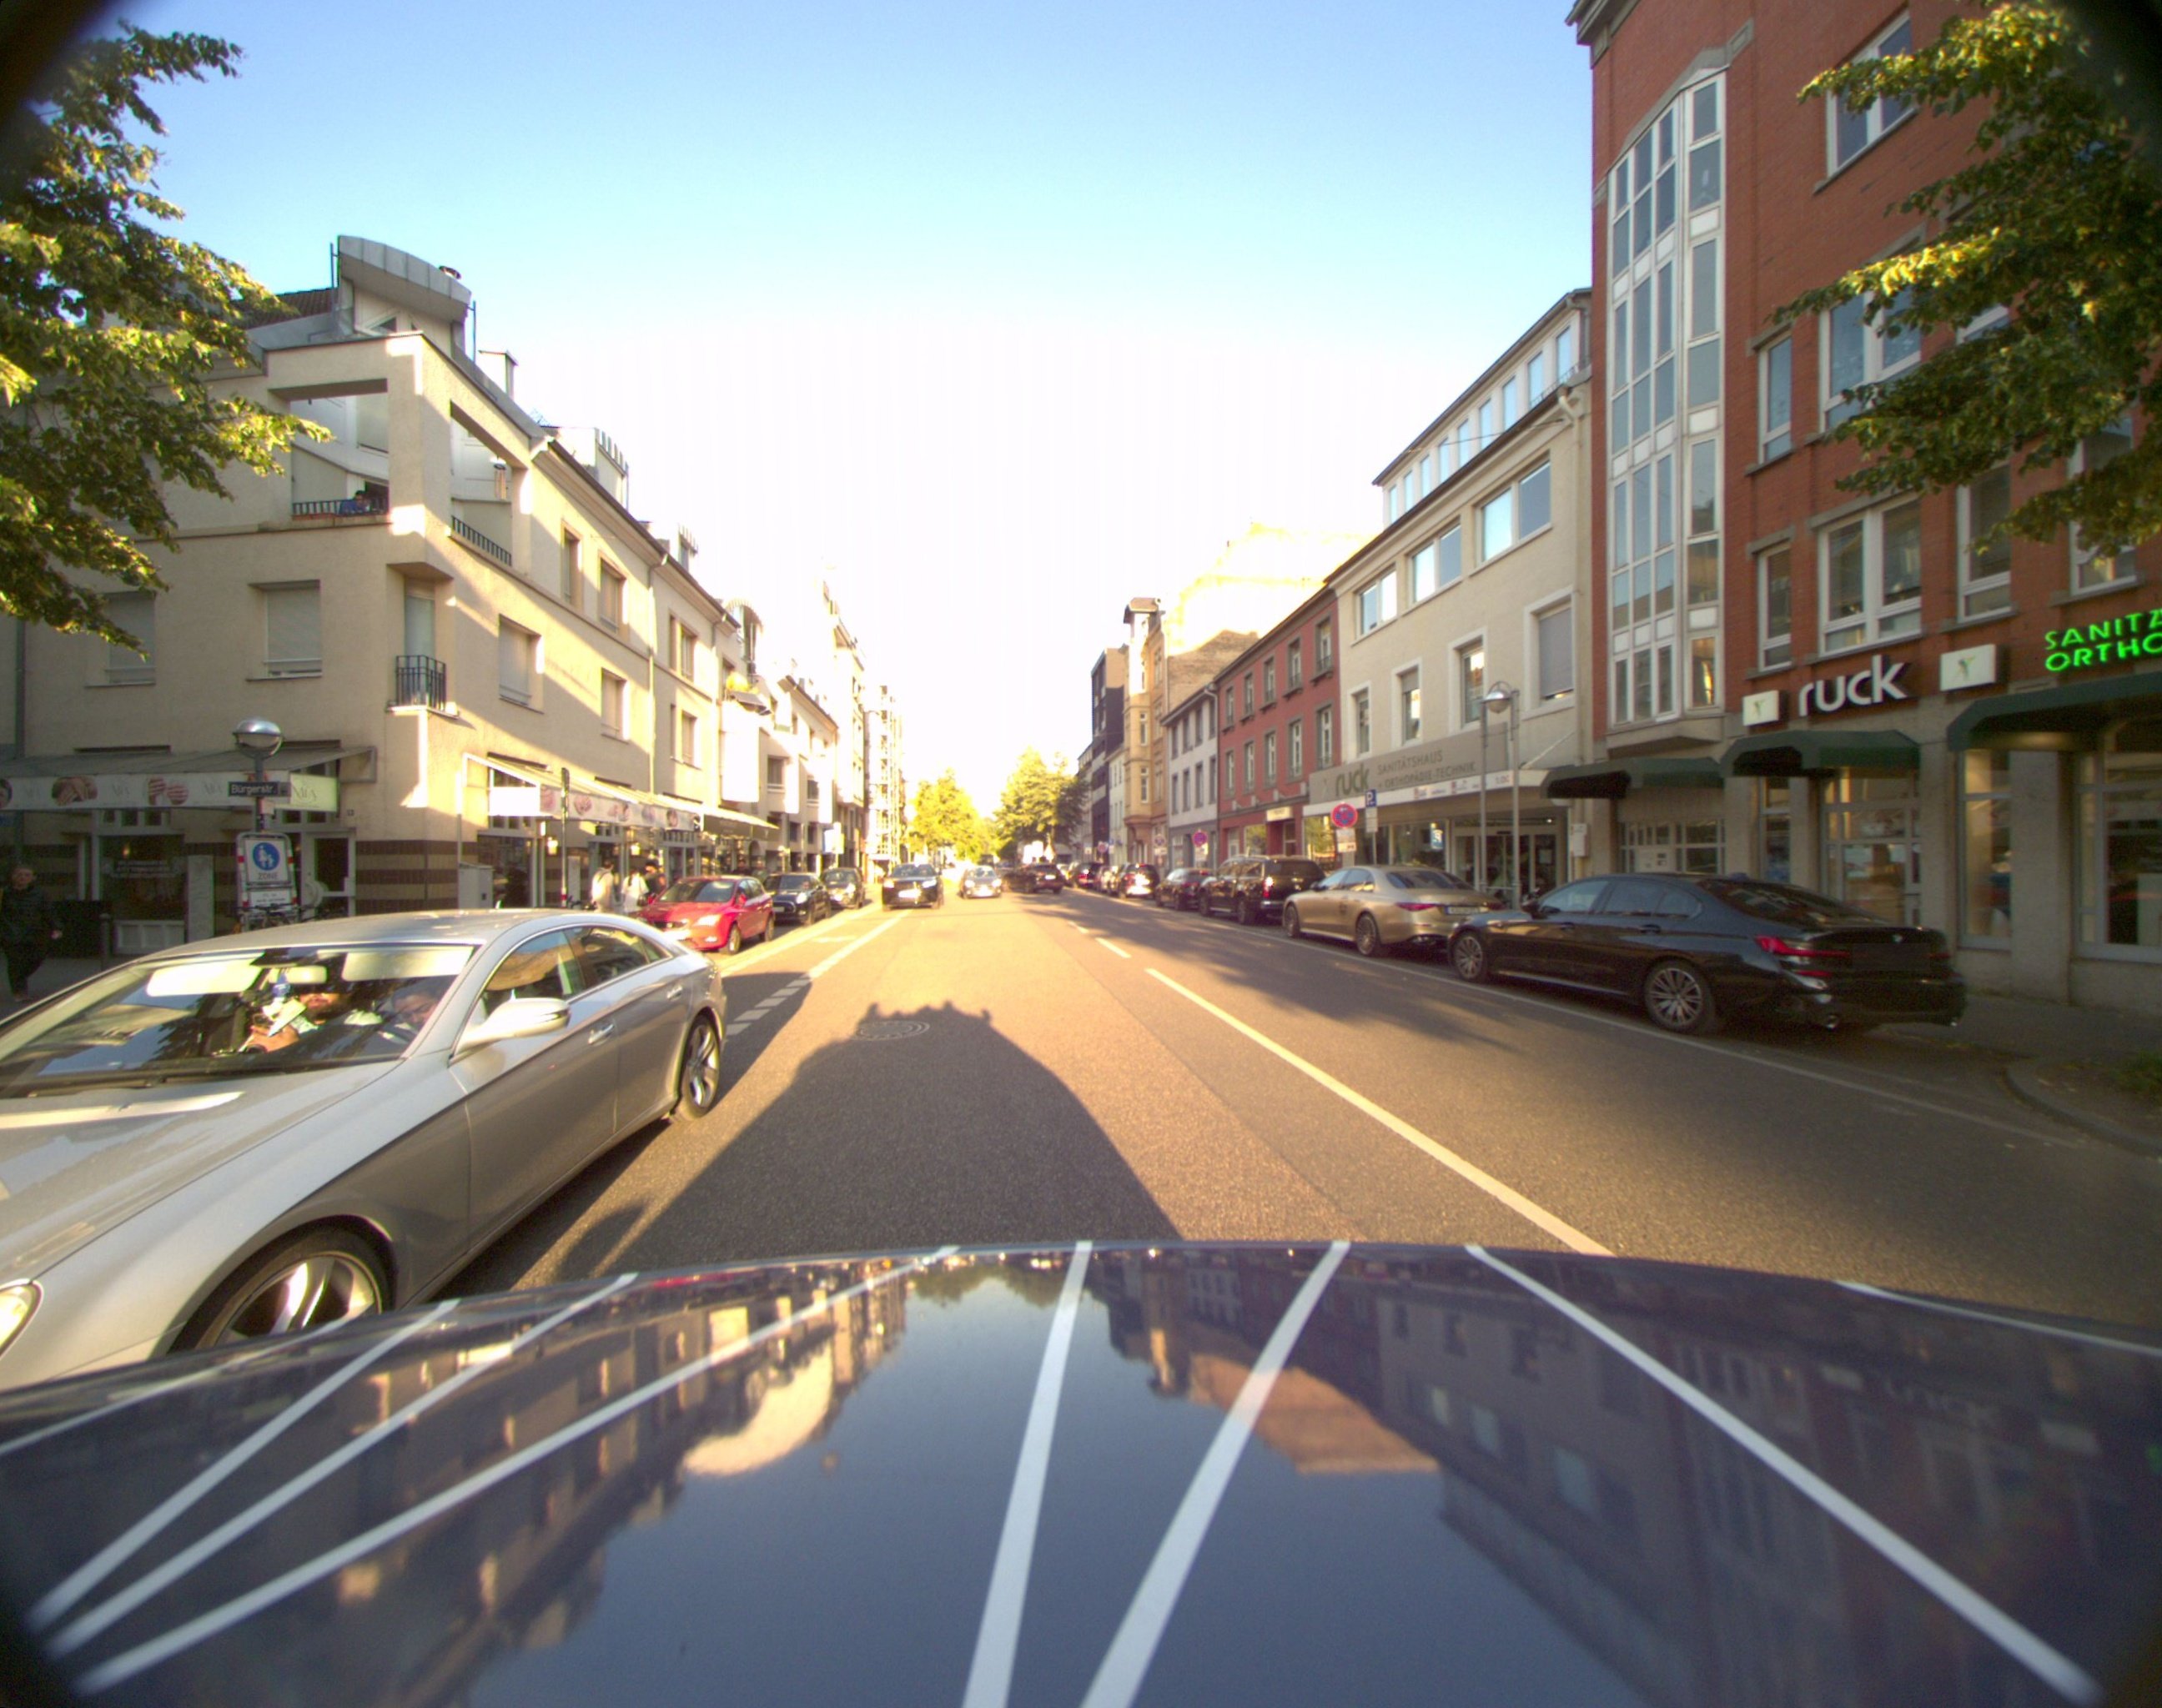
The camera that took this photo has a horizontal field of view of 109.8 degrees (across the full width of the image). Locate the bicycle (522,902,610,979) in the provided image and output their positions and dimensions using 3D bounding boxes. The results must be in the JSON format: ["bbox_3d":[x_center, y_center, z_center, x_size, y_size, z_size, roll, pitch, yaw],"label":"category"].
[{"bbox_3d":[-8.386,1.369,12.448,0.315,1.040,1.881,0,0,-5],"label":"bicycle"}]

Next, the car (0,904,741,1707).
[{"bbox_3d":[-3.019,1.078,3.045,1.748,1.393,4.636,-2,0,-8],"label":"car"}]

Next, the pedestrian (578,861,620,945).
[{"bbox_3d":[-10.282,1.031,16.210,0.545,1.748,0.502,2,0,-8],"label":"pedestrian"}]

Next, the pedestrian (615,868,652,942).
[{"bbox_3d":[-9.839,1.119,16.710,0.521,1.583,0.408,2,0,-8],"label":"pedestrian"}]

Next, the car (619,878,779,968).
[{"bbox_3d":[-7.199,1.219,14.738,1.594,1.425,3.923,0,0,-8],"label":"car"}]

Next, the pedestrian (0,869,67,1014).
[{"bbox_3d":[-12.920,1.030,9.158,0.795,1.666,0.704,2,1,28],"label":"pedestrian"}]

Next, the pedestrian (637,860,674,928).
[{"bbox_3d":[-11.066,1.036,19.794,0.631,1.739,0.669,0,0,-8],"label":"pedestrian"}]

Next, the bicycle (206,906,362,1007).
[{"bbox_3d":[-10.609,1.316,10.208,0.291,1.098,1.886,-1,0,-7],"label":"bicycle"}]

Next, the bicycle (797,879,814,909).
[{"bbox_3d":[-10.634,1.513,29.359,0.296,1.079,1.462,-1,0,-7],"label":"bicycle"}]

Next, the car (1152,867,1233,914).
[{"bbox_3d":[3.785,1.219,26.516,1.707,1.429,4.012,2,-1,-8],"label":"car"}]

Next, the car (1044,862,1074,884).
[{"bbox_3d":[-1.624,1.341,54.838,1.674,1.512,3.562,1,0,-8],"label":"car"}]

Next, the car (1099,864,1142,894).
[{"bbox_3d":[2.020,1.289,40.034,1.690,1.461,3.689,2,-1,-6],"label":"car"}]

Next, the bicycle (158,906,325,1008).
[{"bbox_3d":[-11.096,1.310,10.136,0.322,1.098,1.878,-1,0,-7],"label":"bicycle"}]

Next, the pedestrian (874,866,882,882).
[{"bbox_3d":[-16.560,1.627,61.956,0.492,1.256,0.421,-2,1,-7],"label":"pedestrian"}]

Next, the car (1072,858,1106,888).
[{"bbox_3d":[0.464,1.150,47.901,1.674,1.763,3.563,2,-1,-6],"label":"car"}]

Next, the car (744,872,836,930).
[{"bbox_3d":[-8.190,1.273,21.730,1.622,1.425,3.923,0,0,-8],"label":"car"}]

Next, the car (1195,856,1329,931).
[{"bbox_3d":[4.642,0.964,20.336,1.726,1.768,4.935,1,-1,-9],"label":"car"}]

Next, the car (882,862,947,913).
[{"bbox_3d":[-5.942,1.128,27.488,1.891,1.626,4.224,-2,0,-8],"label":"car"}]

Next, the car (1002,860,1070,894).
[{"bbox_3d":[-2.428,1.130,39.633,1.739,1.665,4.285,0,0,-31],"label":"car"}]

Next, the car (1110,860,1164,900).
[{"bbox_3d":[2.505,1.147,35.014,1.726,1.673,4.047,2,-1,-6],"label":"car"}]

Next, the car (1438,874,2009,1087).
[{"bbox_3d":[5.874,1.011,7.896,1.726,1.464,4.538,2,-1,-7],"label":"car"}]

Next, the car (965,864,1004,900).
[{"bbox_3d":[-4.429,1.221,34.754,1.623,1.465,3.686,-2,0,-8],"label":"car"}]

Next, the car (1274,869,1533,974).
[{"bbox_3d":[5.343,1.029,13.548,2.000,1.463,5.104,1,-1,-6],"label":"car"}]

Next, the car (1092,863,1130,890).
[{"bbox_3d":[1.687,1.284,44.111,1.674,1.448,3.563,2,-1,-6],"label":"car"}]

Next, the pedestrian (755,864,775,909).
[{"bbox_3d":[-12.719,1.295,30.629,0.576,1.789,0.450,-2,1,-7],"label":"pedestrian"}]

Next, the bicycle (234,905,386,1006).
[{"bbox_3d":[-10.305,1.310,10.248,0.322,1.098,1.878,-1,0,-7],"label":"bicycle"}]

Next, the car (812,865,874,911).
[{"bbox_3d":[-9.067,1.258,29.201,1.622,1.583,3.923,-1,0,-8],"label":"car"}]

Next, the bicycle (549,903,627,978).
[{"bbox_3d":[-8.021,1.374,12.425,0.315,1.040,1.664,0,0,-5],"label":"bicycle"}]
